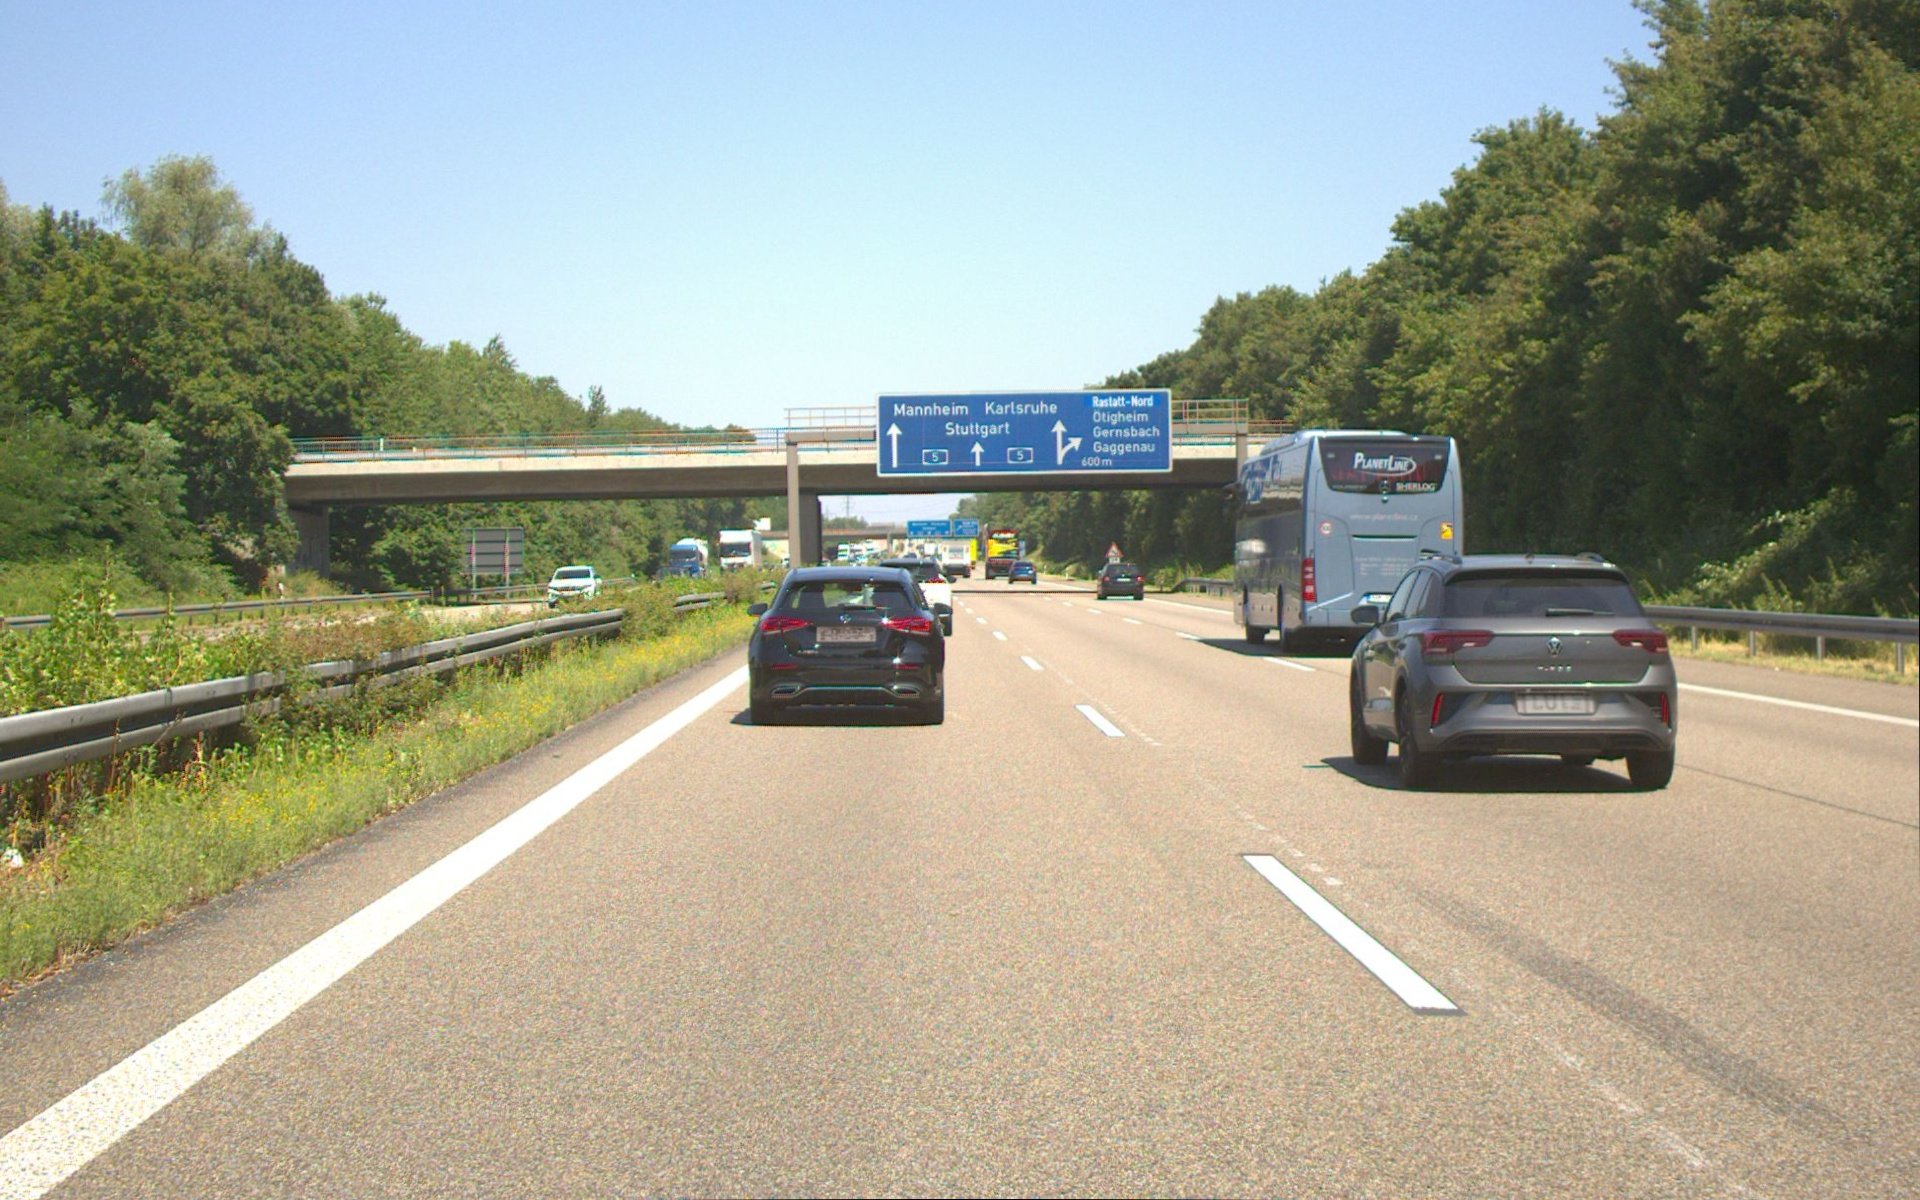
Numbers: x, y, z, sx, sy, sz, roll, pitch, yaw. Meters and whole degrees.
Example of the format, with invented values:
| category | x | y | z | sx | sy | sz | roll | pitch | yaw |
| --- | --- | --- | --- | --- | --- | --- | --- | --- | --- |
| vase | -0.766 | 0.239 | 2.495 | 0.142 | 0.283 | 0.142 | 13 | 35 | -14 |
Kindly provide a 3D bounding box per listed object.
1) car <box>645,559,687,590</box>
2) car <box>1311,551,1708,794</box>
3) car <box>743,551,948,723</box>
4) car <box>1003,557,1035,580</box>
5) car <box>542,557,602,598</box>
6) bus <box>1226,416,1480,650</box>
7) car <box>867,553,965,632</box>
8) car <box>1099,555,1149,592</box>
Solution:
| category | x | y | z | sx | sy | sz | roll | pitch | yaw |
| --- | --- | --- | --- | --- | --- | --- | --- | --- | --- |
| car | -15.868 | -1.396 | 185.875 | 1.899 | 1.527 | 5.033 | -4 | 1 | -2 |
| car | 3.736 | 0.429 | 24.215 | 1.899 | 1.527 | 4.760 | 0 | 1 | -2 |
| car | -1.069 | 0.298 | 32.384 | 1.799 | 1.497 | 4.242 | 0 | 1 | -2 |
| car | 4.001 | -2.142 | 232.930 | 2.081 | 1.527 | 4.241 | 0 | 1 | 0 |
| car | -14.842 | -0.879 | 131.688 | 1.807 | 1.478 | 4.417 | -3 | 1 | -1 |
| bus | 6.518 | -1.105 | 59.059 | 2.802 | 3.584 | 12.475 | 0 | 1 | -1 |
| car | -0.919 | -0.172 | 69.052 | 1.899 | 1.527 | 4.242 | 0 | 1 | -2 |
| car | 6.463 | -1.057 | 136.072 | 1.789 | 1.456 | 3.949 | 0 | 1 | 0 |
